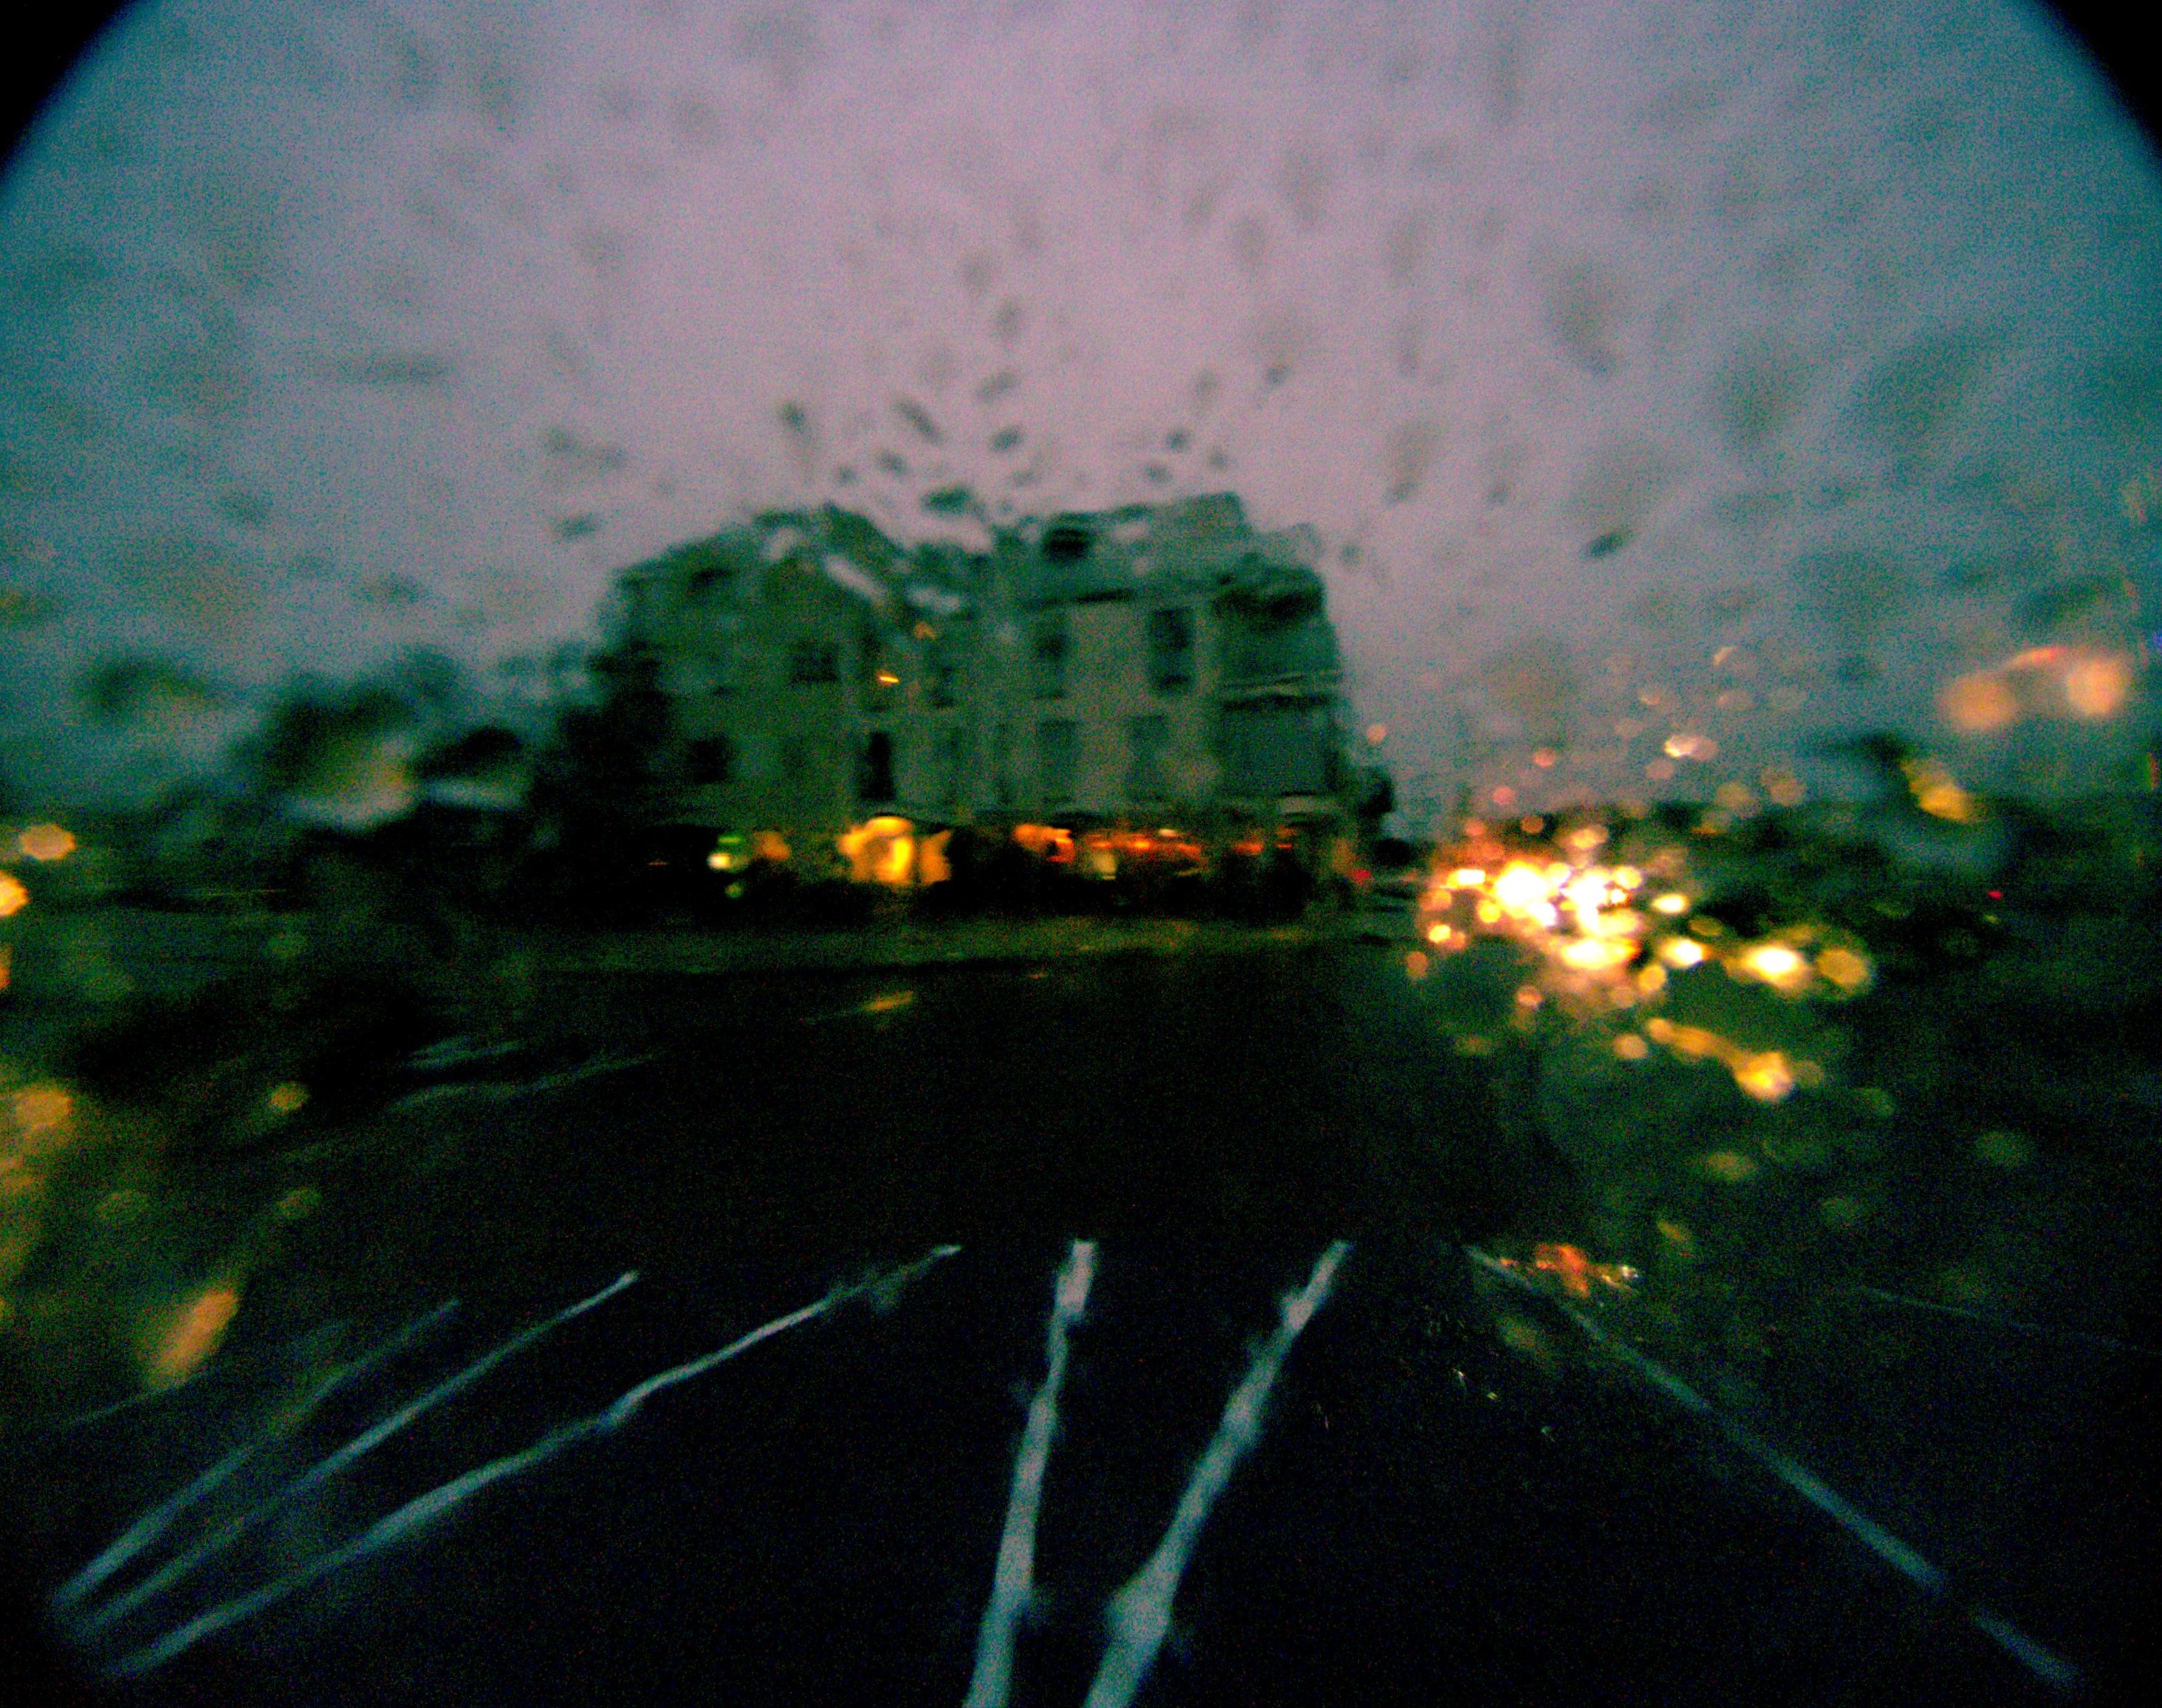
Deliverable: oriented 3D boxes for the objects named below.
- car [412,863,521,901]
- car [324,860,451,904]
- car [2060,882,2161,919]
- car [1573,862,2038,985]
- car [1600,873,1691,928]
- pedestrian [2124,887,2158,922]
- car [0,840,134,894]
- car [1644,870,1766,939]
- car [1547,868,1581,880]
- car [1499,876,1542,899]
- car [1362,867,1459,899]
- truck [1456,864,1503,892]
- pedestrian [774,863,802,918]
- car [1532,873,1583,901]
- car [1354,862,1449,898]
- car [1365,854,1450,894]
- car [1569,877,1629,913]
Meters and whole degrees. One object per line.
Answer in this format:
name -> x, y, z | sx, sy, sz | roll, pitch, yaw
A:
car -> -24.191, 1.082, 29.962 | 3.438, 1.465, 1.521 | 0, -1, 12
car -> -24.958, 0.975, 27.384 | 3.759, 1.507, 1.718 | -1, 0, 18
car -> 47.807, 2.083, 34.705 | 1.776, 1.560, 4.100 | 0, -1, 18
car -> 10.176, 0.933, 11.103 | 4.625, 1.583, 1.956 | 0, -2, 9
car -> 18.477, 1.453, 25.035 | 1.678, 1.614, 4.008 | 0, -1, 26
pedestrian -> 39.730, 1.892, 28.476 | 0.511, 1.294, 0.602 | 1, -1, -14
car -> -40.328, 0.515, 29.891 | 4.848, 2.002, 2.217 | -1, 0, 18
car -> 15.776, 1.201, 19.425 | 1.884, 1.569, 4.009 | 0, -1, 32
car -> 61.650, 2.523, 96.970 | 1.798, 1.460, 4.619 | 1, -1, 6
car -> 30.308, 2.280, 52.515 | 1.831, 1.535, 3.721 | 0, -1, 18
car -> 17.290, 1.515, 40.155 | 4.512, 1.483, 1.979 | 1, -3, 18
truck -> 34.162, 2.019, 65.327 | 2.245, 2.217, 6.112 | 0, -1, 14
pedestrian -> -7.875, 0.966, 20.437 | 0.451, 1.446, 0.553 | 0, 0, 11
car -> 26.119, 1.778, 41.736 | 1.738, 1.434, 4.007 | -1, -1, 23
car -> 15.795, 1.267, 37.645 | 3.992, 1.494, 1.816 | 4, 1, 14
car -> 20.003, 1.214, 46.783 | 4.542, 1.923, 1.978 | 6, 1, 20
car -> 22.145, 1.727, 32.589 | 1.569, 1.460, 3.624 | -1, -2, 25
